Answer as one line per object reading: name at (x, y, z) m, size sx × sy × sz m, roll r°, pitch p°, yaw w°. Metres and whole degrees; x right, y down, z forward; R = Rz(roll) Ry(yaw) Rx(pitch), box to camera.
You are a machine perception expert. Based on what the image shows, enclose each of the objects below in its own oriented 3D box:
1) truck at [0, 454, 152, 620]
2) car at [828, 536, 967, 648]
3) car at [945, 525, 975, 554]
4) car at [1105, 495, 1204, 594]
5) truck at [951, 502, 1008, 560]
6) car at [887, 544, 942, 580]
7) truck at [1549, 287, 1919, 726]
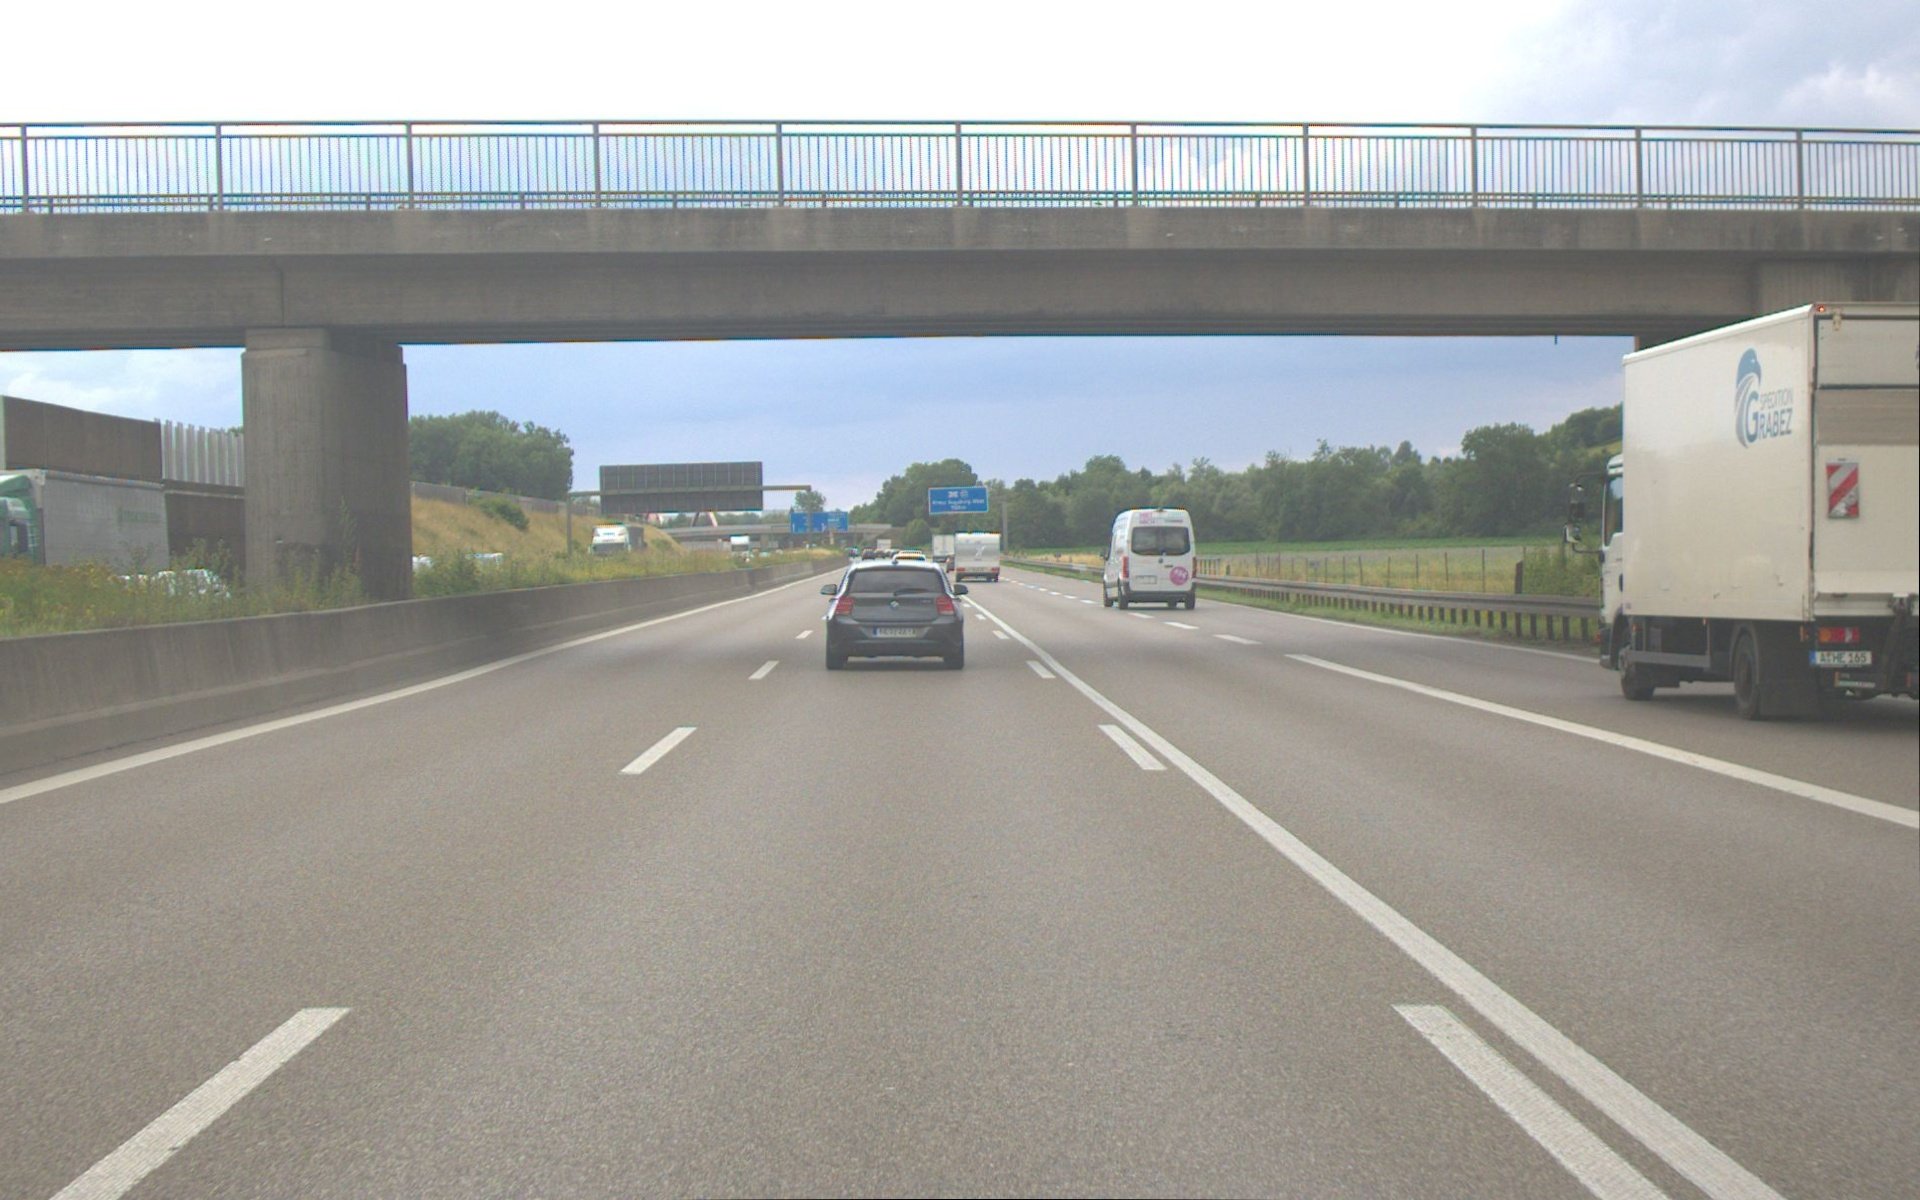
truck at (-22.335, -1.471, 82.405) m, size 2.997 × 3.671 × 13.009 m, roll 0°, pitch 1°, yaw -1°
car at (-0.813, -0.132, 45.069) m, size 1.743 × 1.384 × 4.000 m, roll 0°, pitch 1°, yaw -1°
car at (-0.007, -4.362, 246.191) m, size 1.993 × 2.007 × 4.000 m, roll -1°, pitch 1°, yaw -1°
car at (5.208, -1.500, 92.699) m, size 2.221 × 2.559 × 6.256 m, roll 0°, pitch 1°, yaw -1°
truck at (0.990, -3.636, 182.830) m, size 2.710 × 2.954 × 12.448 m, roll 1°, pitch 1°, yaw -1°
car at (-1.723, -1.448, 130.206) m, size 1.993 × 1.293 × 4.000 m, roll -2°, pitch 1°, yaw -1°
truck at (7.970, -0.795, 31.676) m, size 3.104 × 3.459 × 8.892 m, roll 1°, pitch 1°, yaw -3°
